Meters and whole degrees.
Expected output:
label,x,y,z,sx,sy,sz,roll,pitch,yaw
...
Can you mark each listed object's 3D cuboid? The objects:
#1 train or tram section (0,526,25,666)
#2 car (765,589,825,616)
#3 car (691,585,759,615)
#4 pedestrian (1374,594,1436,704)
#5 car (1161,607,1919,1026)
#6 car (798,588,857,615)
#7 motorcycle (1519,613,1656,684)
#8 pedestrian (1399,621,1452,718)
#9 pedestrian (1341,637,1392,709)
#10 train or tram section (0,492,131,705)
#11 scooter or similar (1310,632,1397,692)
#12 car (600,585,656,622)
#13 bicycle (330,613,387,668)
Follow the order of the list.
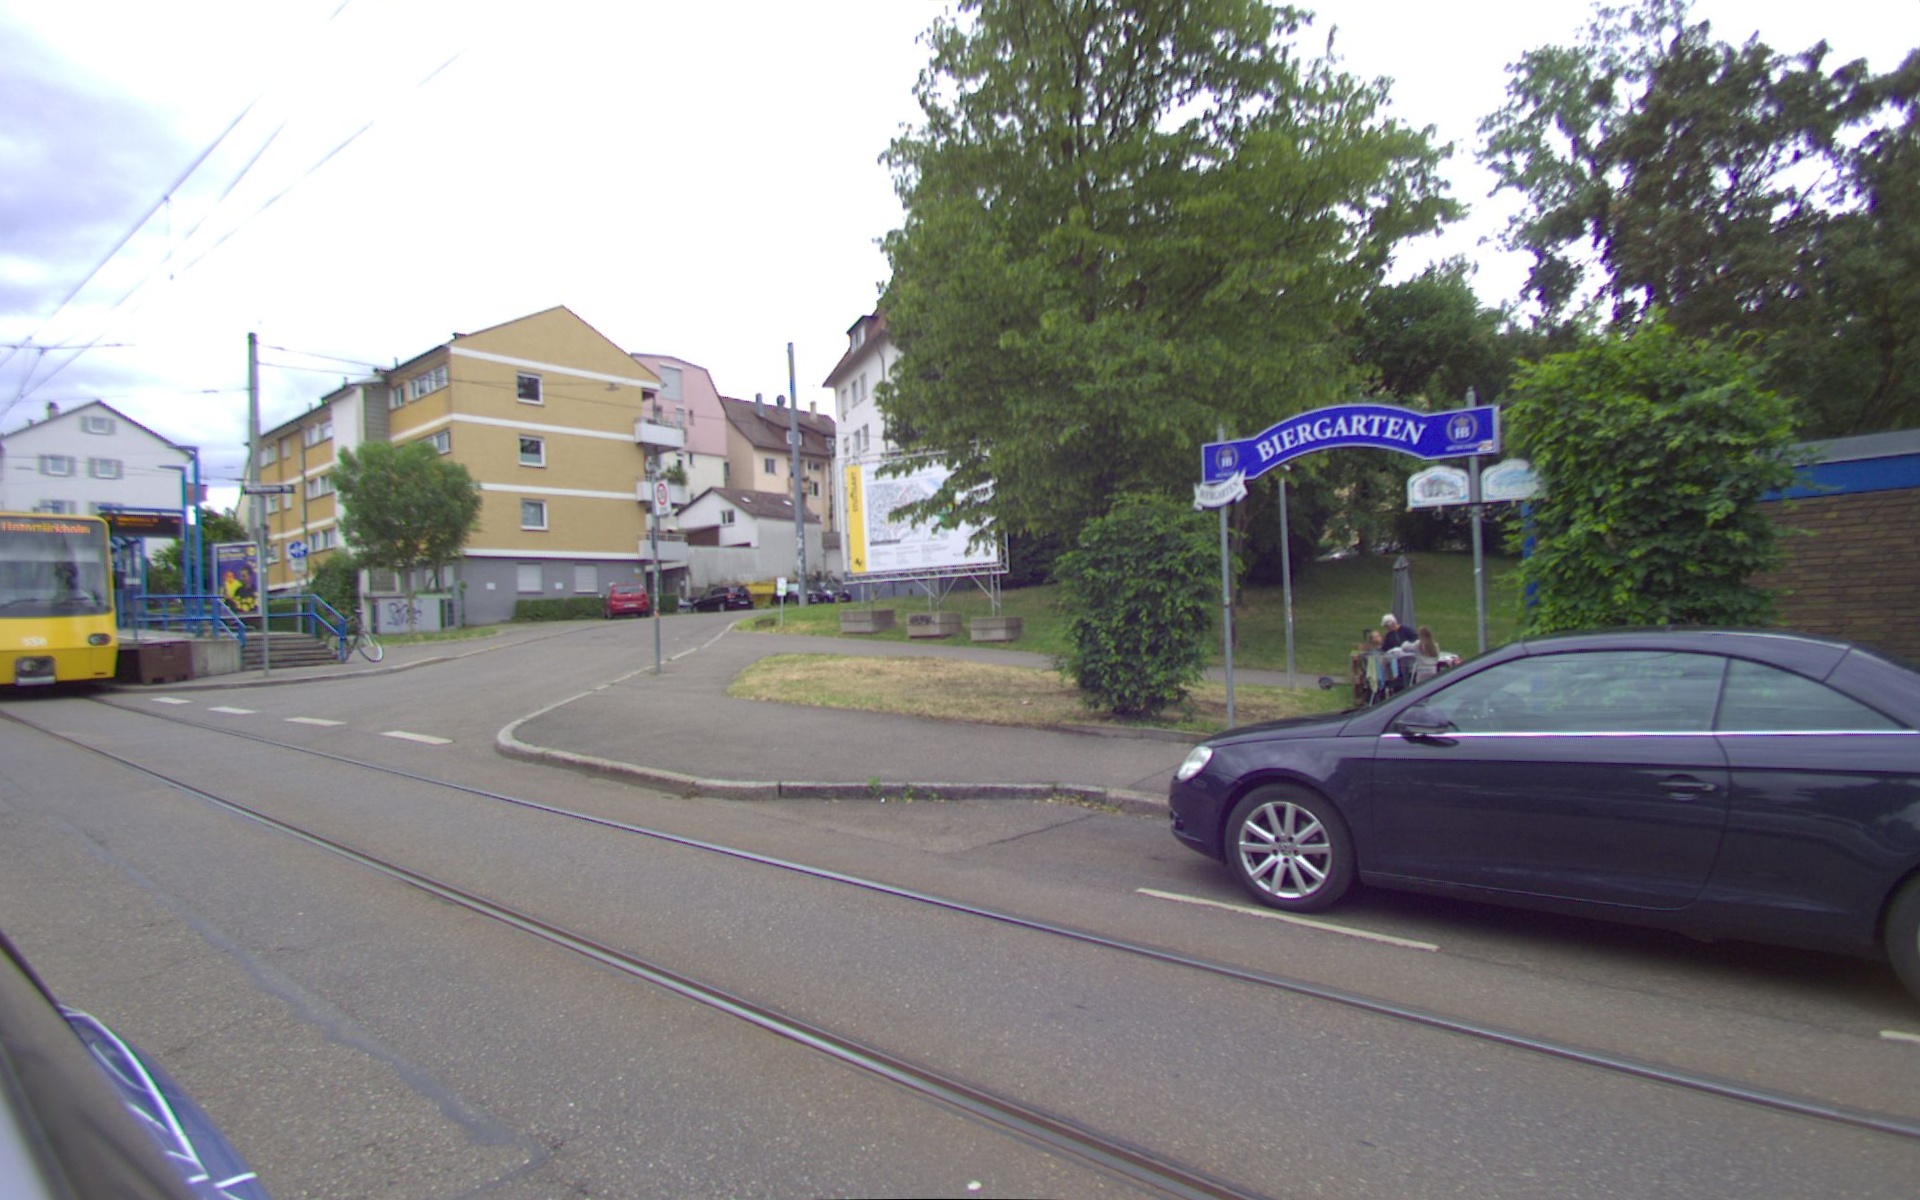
label,x,y,z,sx,sy,sz,roll,pitch,yaw
train or tram section,-30.266,-0.026,29.543,12.119,3.664,2.795,-1,0,40
car,-9.299,0.142,56.930,1.812,1.475,4.010,-1,0,-34
car,-12.324,0.022,52.848,1.813,1.475,4.006,-1,0,-40
pedestrian,6.953,0.744,15.836,0.612,1.677,0.666,-1,0,-6
car,3.209,0.751,4.677,4.157,1.415,1.772,0,0,39
car,-7.778,0.104,59.202,1.812,1.475,4.010,-1,0,-34
motorcycle,12.344,0.934,19.982,2.255,1.314,0.617,-1,0,32
pedestrian,6.749,0.995,14.674,0.475,1.352,0.520,-1,0,-6
pedestrian,6.375,1.137,15.898,0.475,1.072,0.666,-1,0,-6
train or tram section,-20.958,0.036,21.660,12.121,3.664,2.821,-1,0,40
scooter or similar,7.311,1.132,18.837,1.419,1.027,0.485,0,0,41
car,-14.198,0.155,43.159,1.810,1.475,4.013,-1,0,-25
bicycle,-13.778,0.912,23.166,1.487,1.190,0.704,0,0,41
